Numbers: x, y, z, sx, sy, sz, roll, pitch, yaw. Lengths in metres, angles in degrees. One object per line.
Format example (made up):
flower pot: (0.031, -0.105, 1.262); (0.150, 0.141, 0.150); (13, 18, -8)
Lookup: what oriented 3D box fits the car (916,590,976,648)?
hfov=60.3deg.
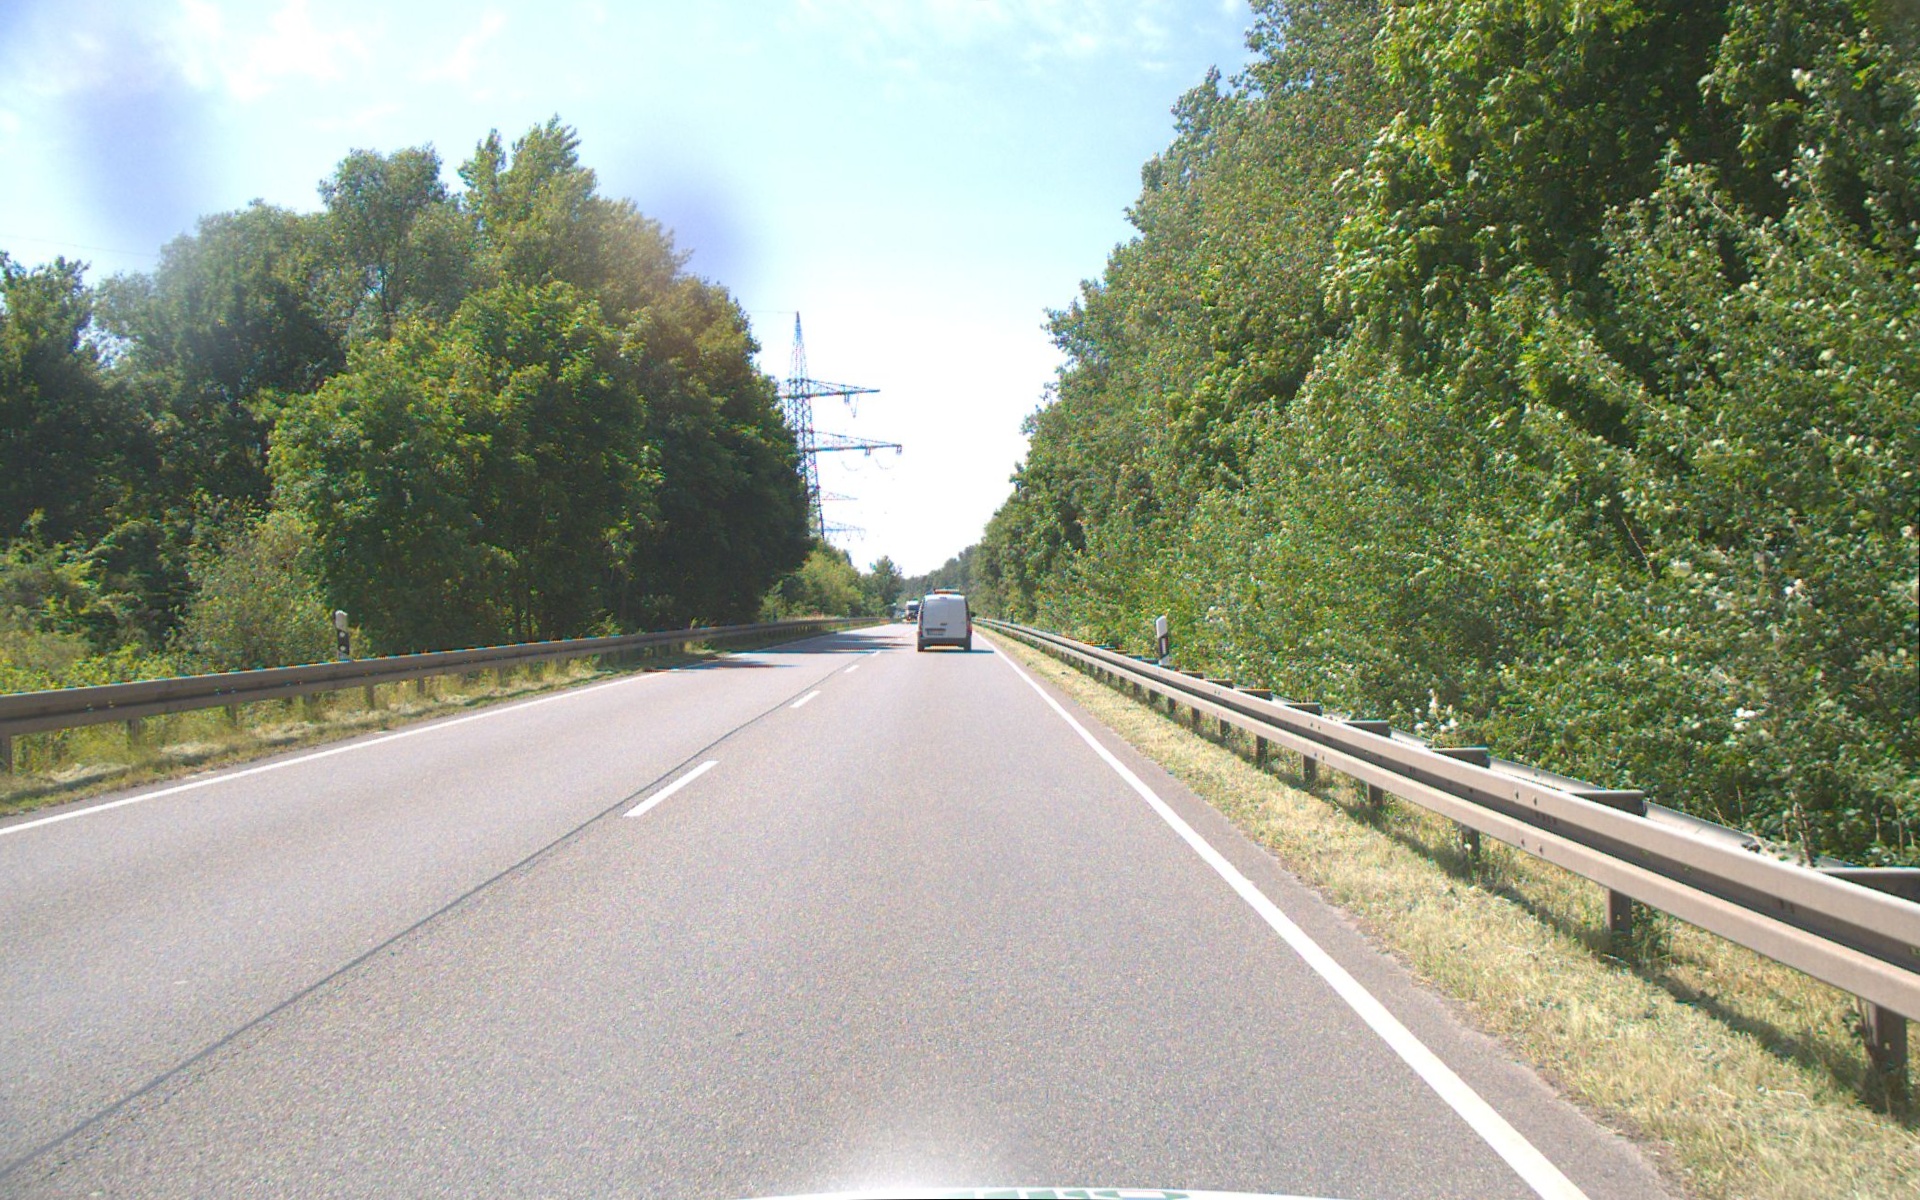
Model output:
car: (-0.450, 0.566, 53.338); (1.837, 1.772, 3.999); (1, 0, -1)

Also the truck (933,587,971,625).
truck: (-0.735, 0.439, 149.769); (3.229, 3.227, 14.402); (1, 0, -1)

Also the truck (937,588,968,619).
truck: (-1.078, 0.377, 218.253); (3.334, 3.922, 16.809); (1, 0, -3)
